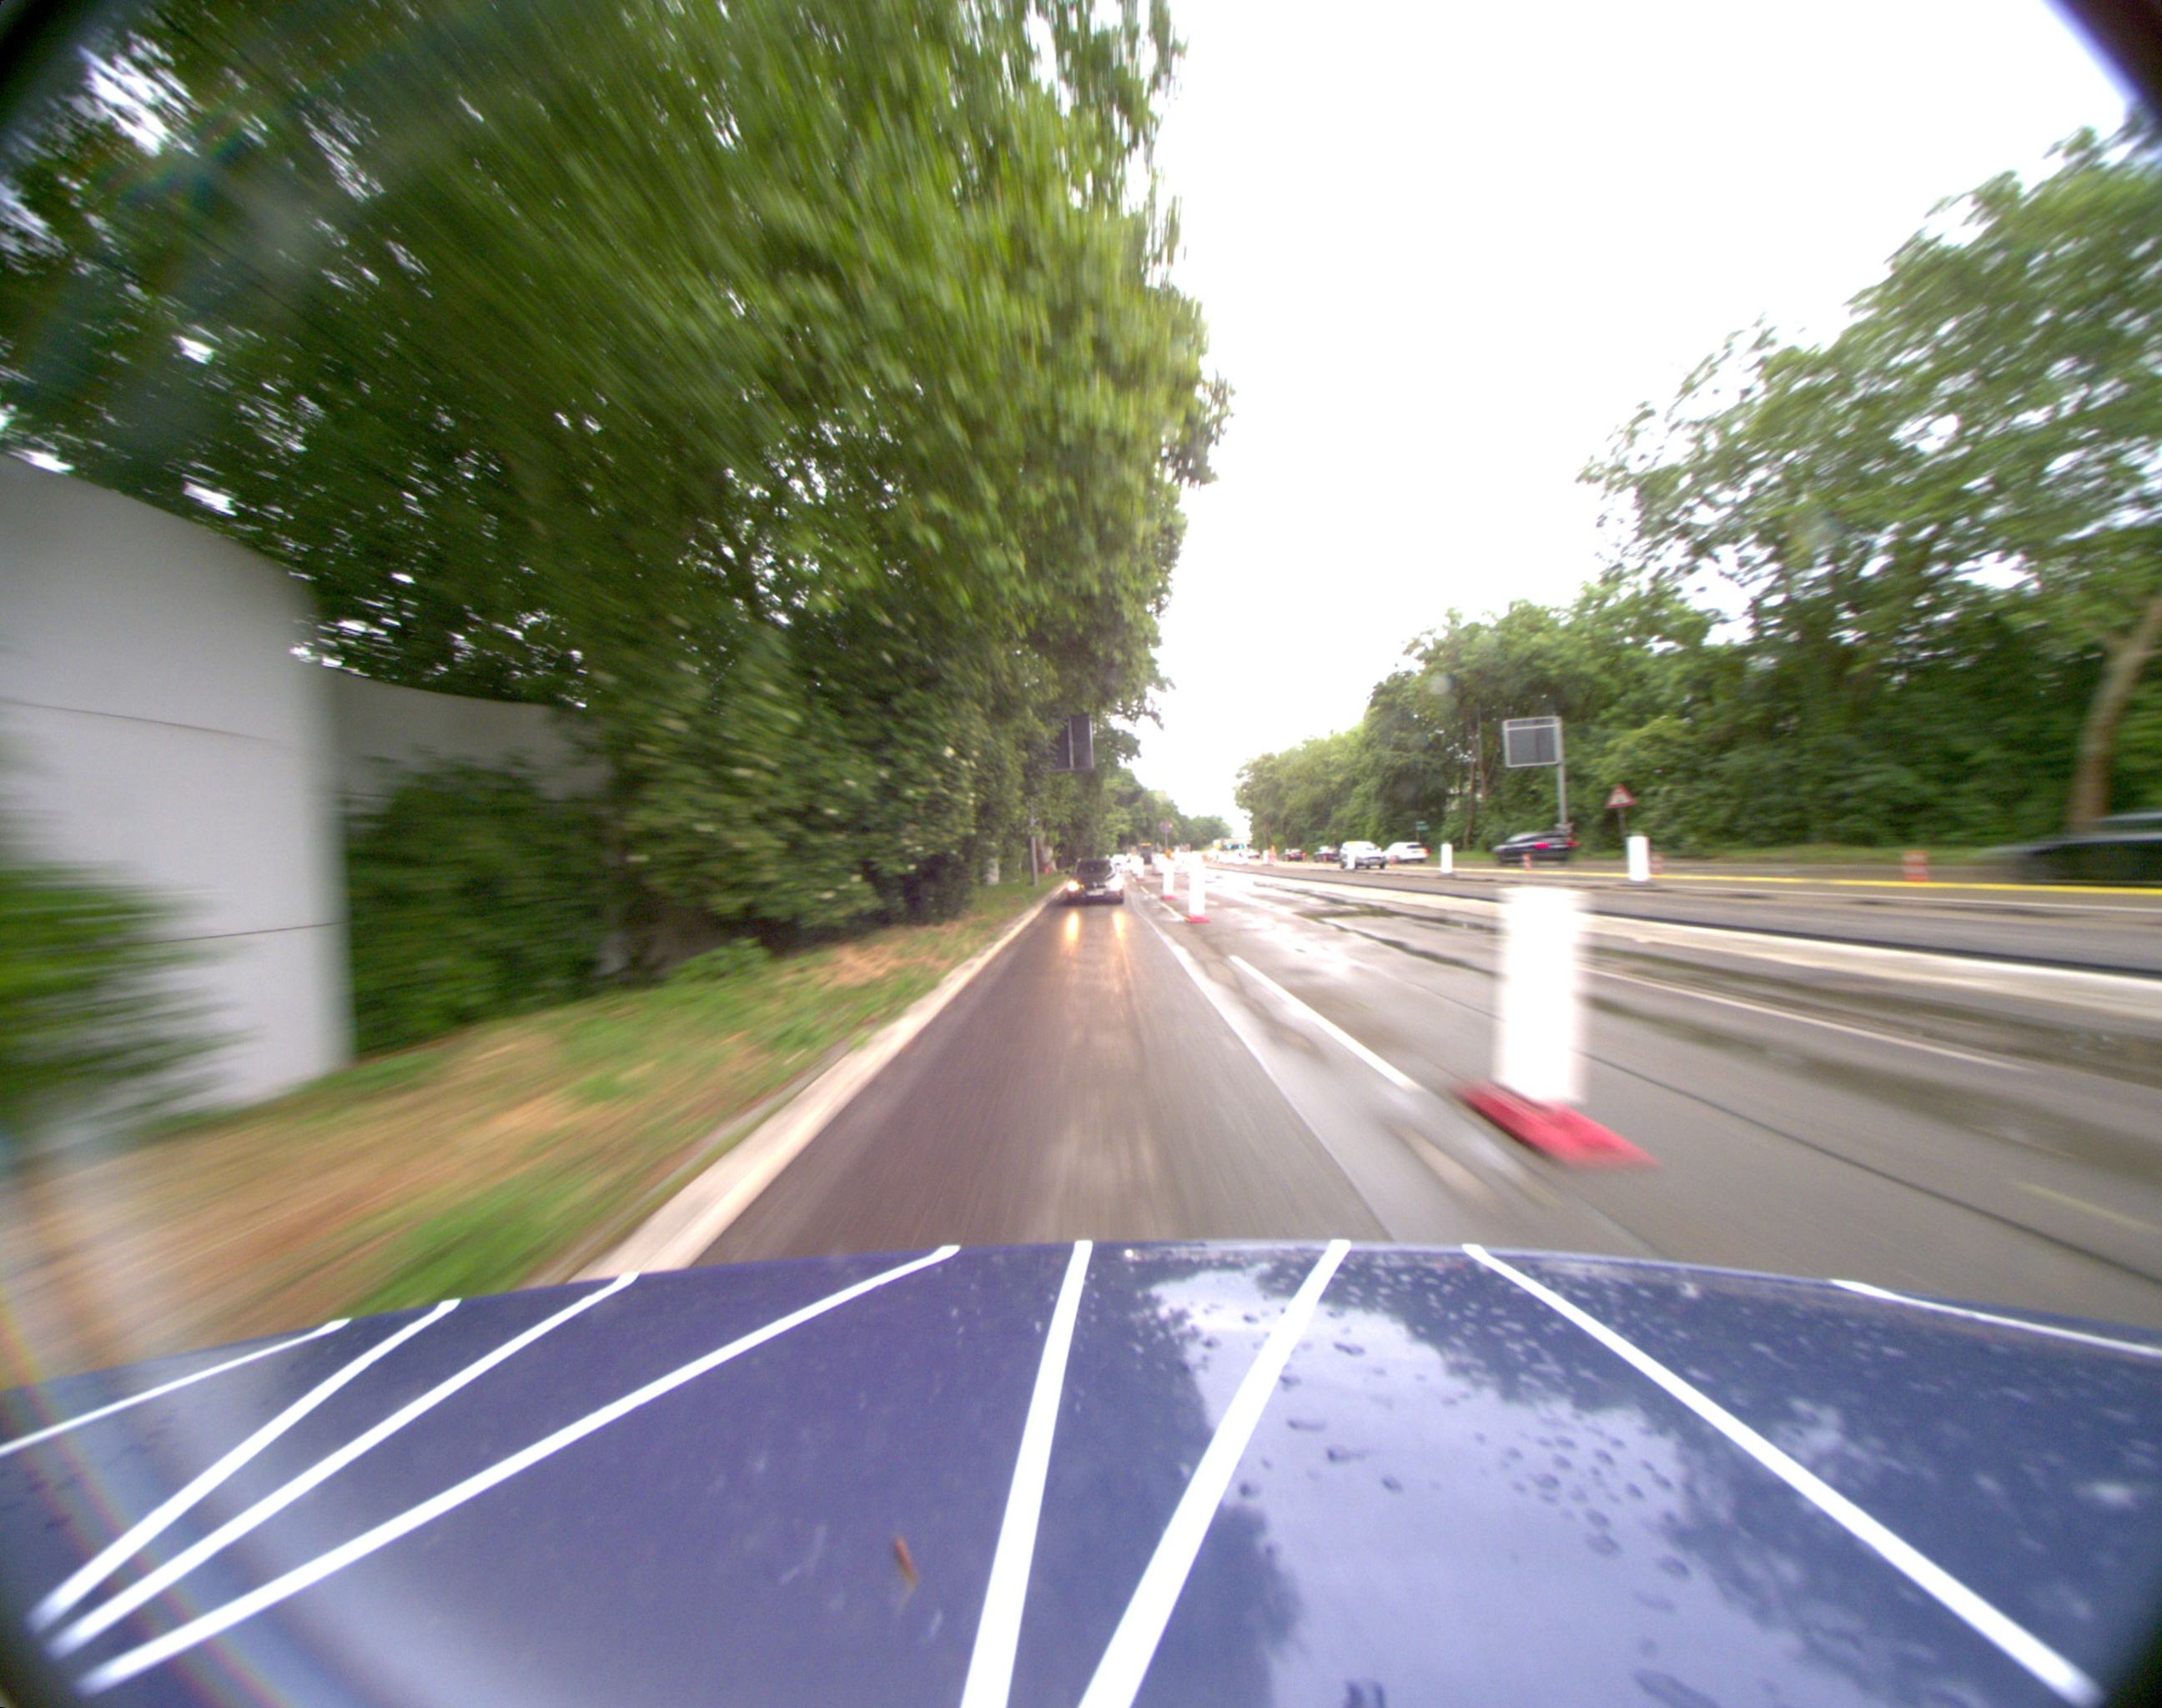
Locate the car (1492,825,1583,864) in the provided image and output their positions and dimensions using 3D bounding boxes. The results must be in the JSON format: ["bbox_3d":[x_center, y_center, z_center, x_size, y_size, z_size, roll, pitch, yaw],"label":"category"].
[{"bbox_3d":[21.891,-0.428,36.652,1.657,1.675,4.533,-4,0,1],"label":"car"}]

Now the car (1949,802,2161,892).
[{"bbox_3d":[18.664,-0.153,13.101,1.764,1.475,4.900,-3,0,0],"label":"car"}]

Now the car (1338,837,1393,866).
[{"bbox_3d":[16.607,-0.149,44.574,1.794,1.575,3.861,-3,0,2],"label":"car"}]

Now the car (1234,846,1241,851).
[{"bbox_3d":[46.939,-1.696,227.984,1.787,1.418,4.473,-2,0,12],"label":"car"}]

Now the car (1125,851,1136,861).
[{"bbox_3d":[9.026,0.414,138.699,1.706,1.681,4.474,-1,1,7],"label":"car"}]

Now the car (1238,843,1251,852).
[{"bbox_3d":[33.829,-1.276,157.499,1.781,1.741,4.380,-2,0,2],"label":"car"}]

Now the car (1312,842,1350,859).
[{"bbox_3d":[20.840,-0.272,63.426,1.822,1.347,4.205,-1,0,1],"label":"car"}]

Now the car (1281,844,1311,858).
[{"bbox_3d":[21.743,-0.306,77.053,1.822,1.347,4.390,-1,0,1],"label":"car"}]

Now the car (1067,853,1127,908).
[{"bbox_3d":[0.484,0.767,23.984,1.701,1.477,3.999,-2,1,0],"label":"car"}]

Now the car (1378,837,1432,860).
[{"bbox_3d":[22.821,-0.390,53.674,1.822,1.411,4.603,-4,0,1],"label":"car"}]

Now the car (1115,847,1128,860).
[{"bbox_3d":[5.746,-0.127,106.730,1.707,1.681,4.473,-2,1,4],"label":"car"}]

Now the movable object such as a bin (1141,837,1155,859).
[{"bbox_3d":[9.582,-0.904,108.398,1.807,2.968,5.247,-2,1,7],"label":"movable object such as a bin"}]

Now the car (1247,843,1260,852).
[{"bbox_3d":[30.424,-1.207,134.049,1.670,1.532,4.158,0,0,3],"label":"car"}]
